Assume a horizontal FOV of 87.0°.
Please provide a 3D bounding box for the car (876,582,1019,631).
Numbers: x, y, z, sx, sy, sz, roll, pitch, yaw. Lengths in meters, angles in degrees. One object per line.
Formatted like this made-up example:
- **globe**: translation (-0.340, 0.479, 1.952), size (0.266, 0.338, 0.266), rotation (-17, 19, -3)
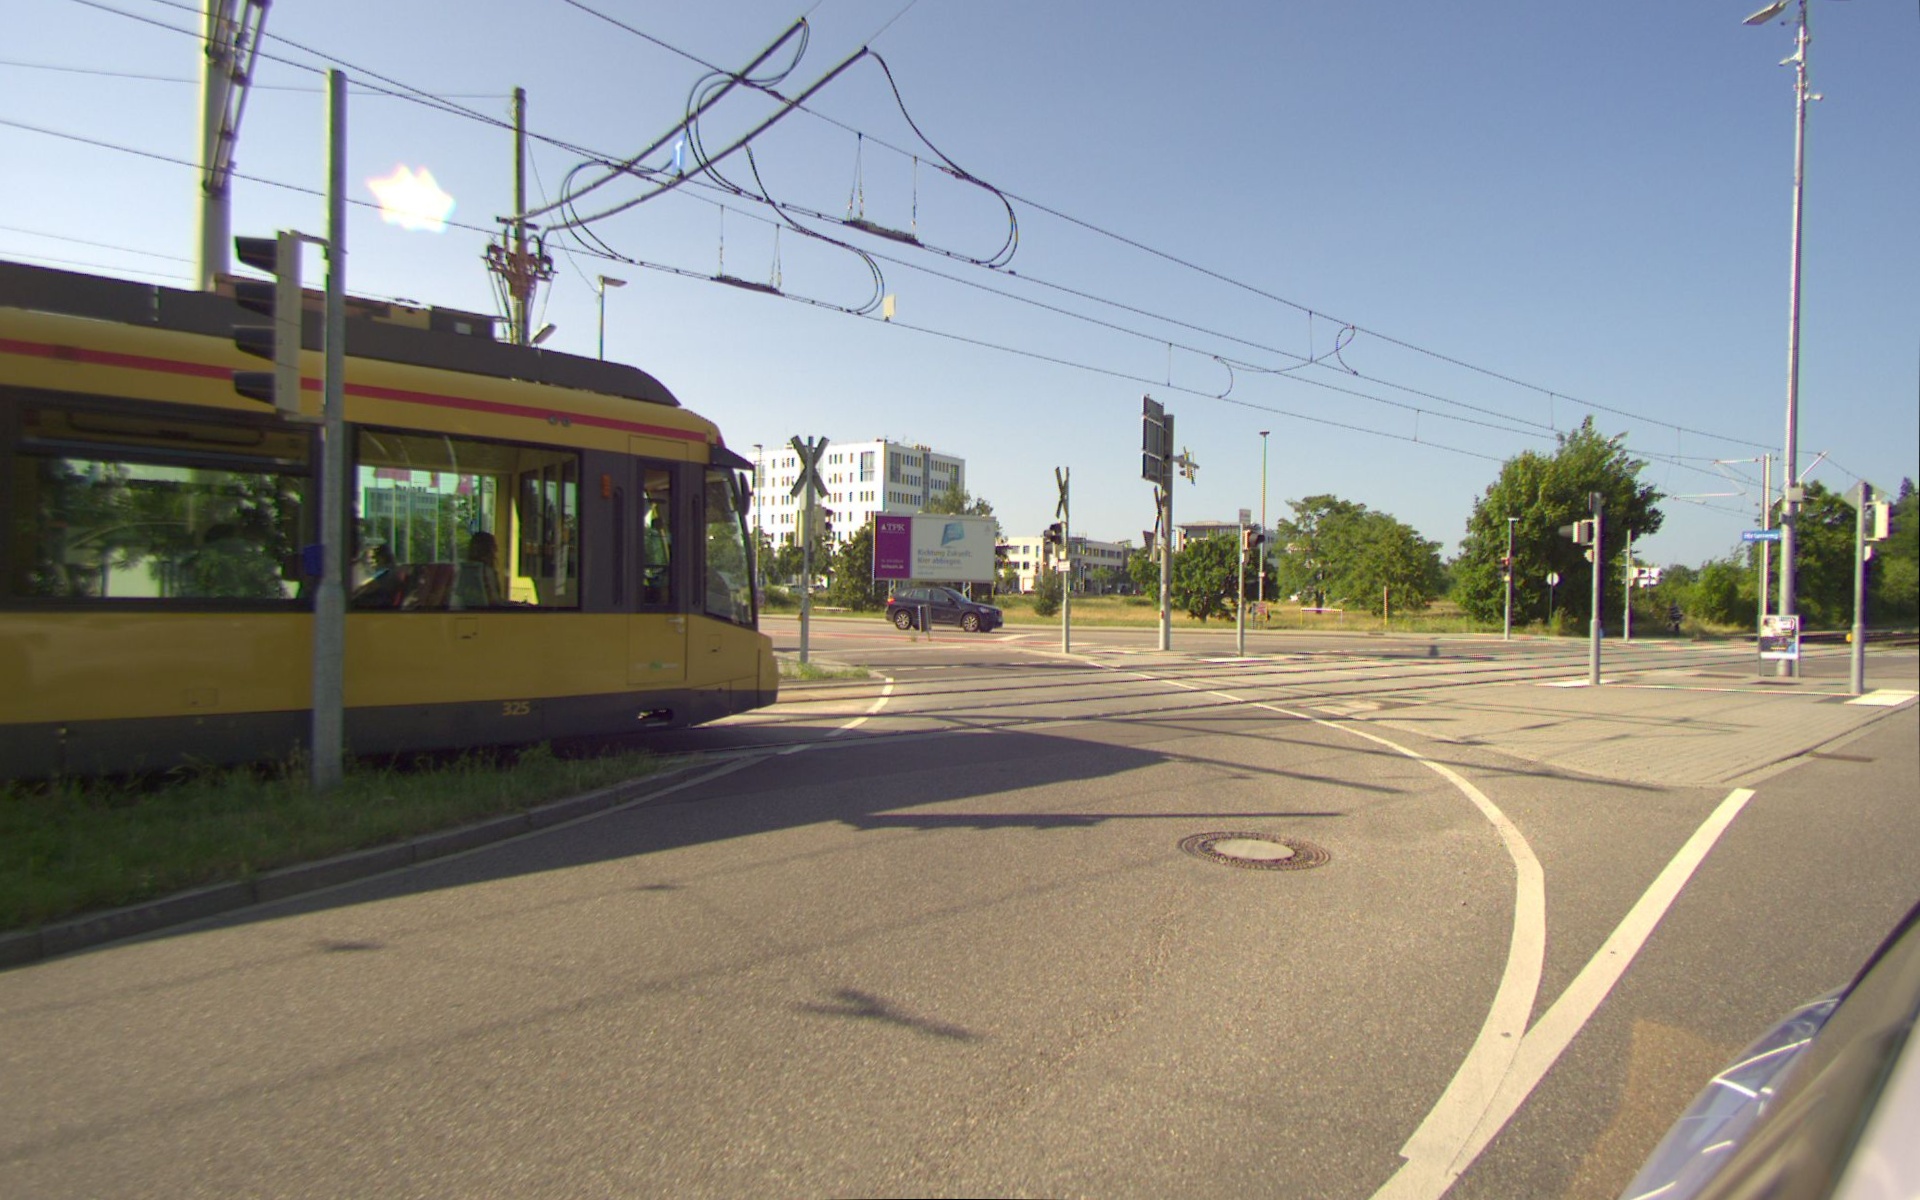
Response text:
- **car**: translation (-0.459, 0.210, 36.910), size (4.805, 1.582, 2.030), rotation (2, 1, 22)

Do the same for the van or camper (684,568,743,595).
- **van or camper**: translation (-26.550, -1.967, 109.296), size (2.220, 2.813, 6.672), rotation (1, 1, 30)

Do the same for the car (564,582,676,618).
- **car**: translation (-14.045, -0.017, 41.810), size (4.254, 1.351, 1.738), rotation (1, 1, 21)

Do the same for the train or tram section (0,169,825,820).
- **train or tram section**: translation (-7.000, -0.598, 6.177), size (12.724, 3.664, 2.802), rotation (0, 0, -40)

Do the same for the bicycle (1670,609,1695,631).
- **bicycle**: translation (35.890, 0.971, 50.280), size (1.840, 1.060, 0.546), rotation (1, 0, -40)

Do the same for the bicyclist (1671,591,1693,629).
- **bicyclist**: translation (35.907, 0.492, 50.305), size (0.705, 1.830, 0.707), rotation (1, 0, -39)
